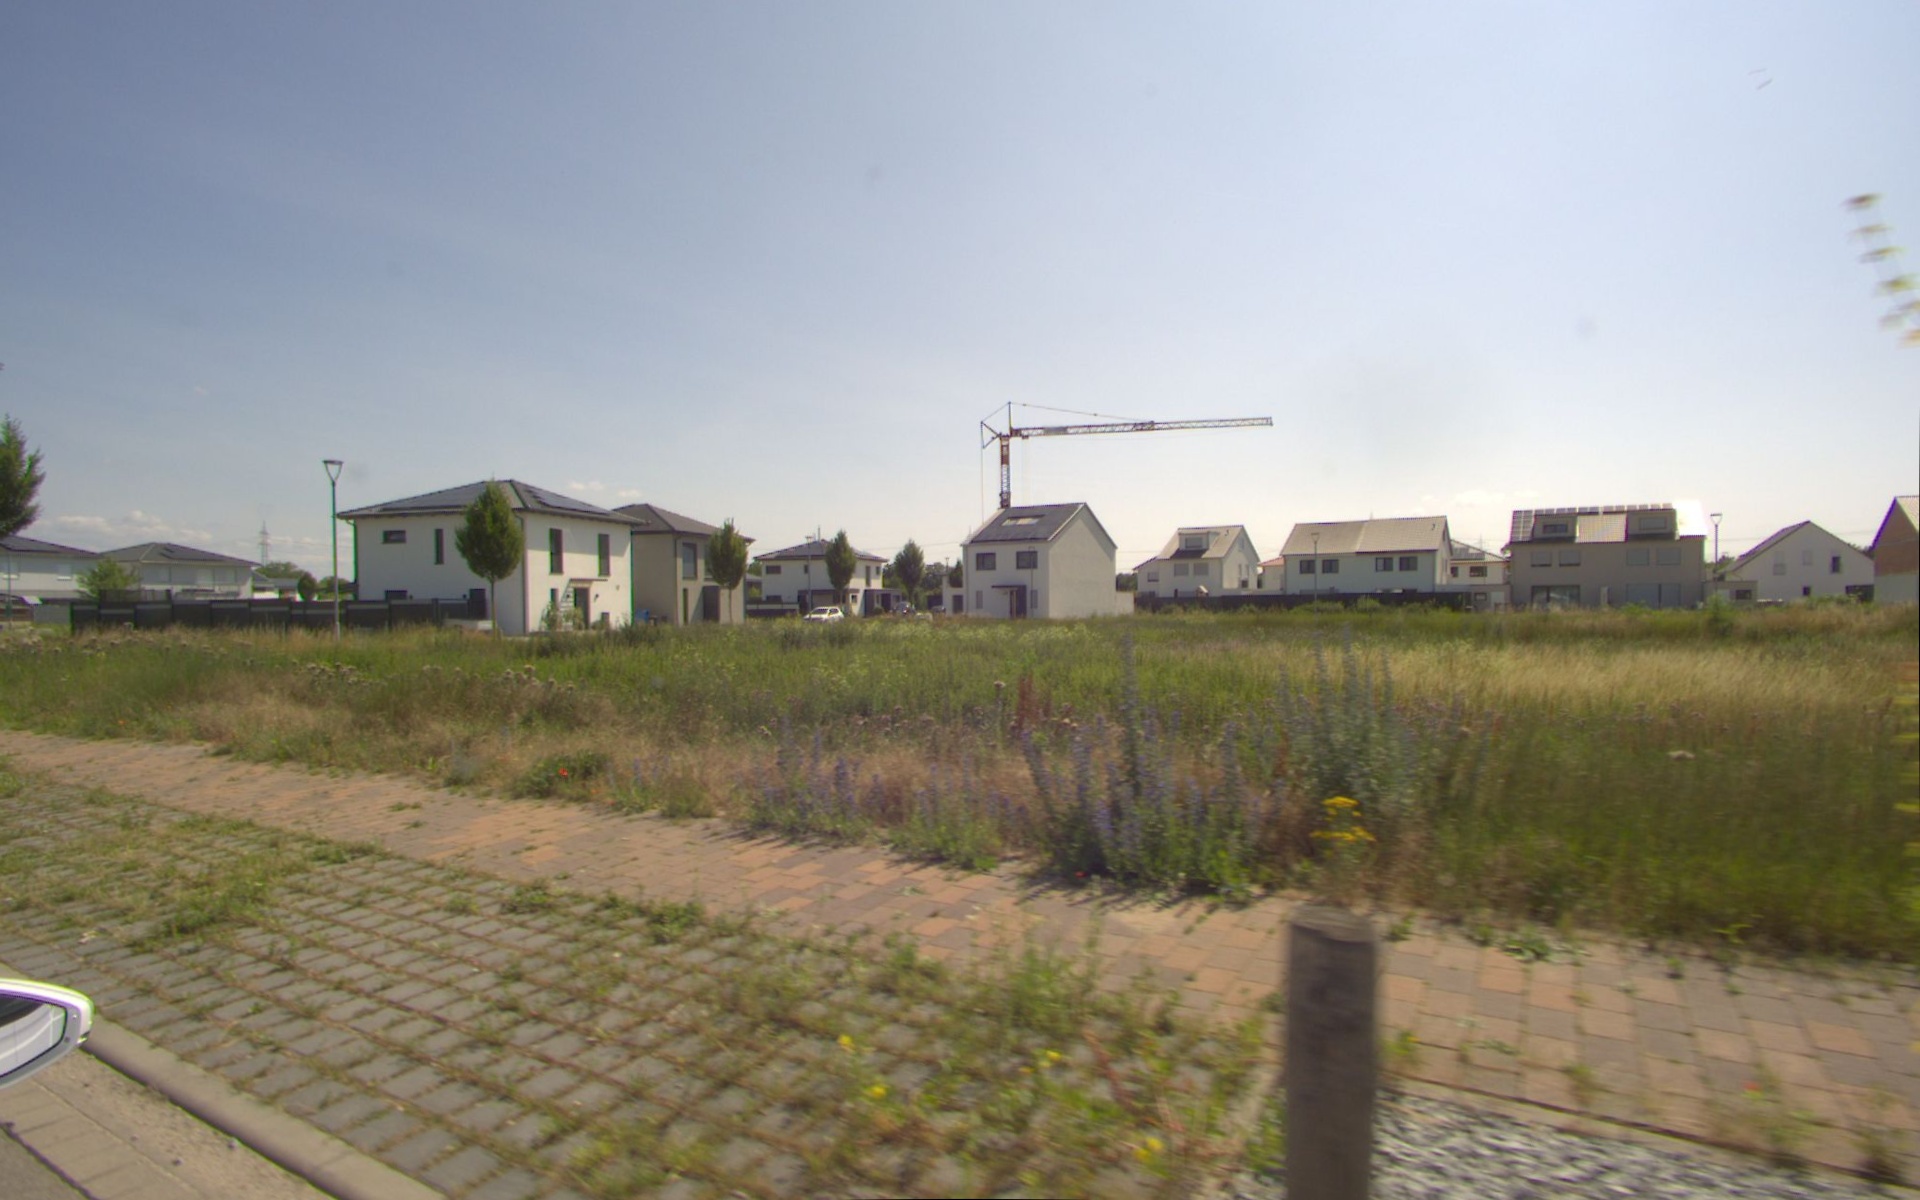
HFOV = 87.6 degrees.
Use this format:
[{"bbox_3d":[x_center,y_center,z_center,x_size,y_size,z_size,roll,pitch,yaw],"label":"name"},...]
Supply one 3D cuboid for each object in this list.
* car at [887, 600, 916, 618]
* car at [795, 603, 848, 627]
[{"bbox_3d":[-5.882,0.881,101.258,1.794,1.776,4.236,0,0,14],"label":"car"},{"bbox_3d":[-8.768,0.936,63.648,1.719,1.416,3.993,-1,-1,18],"label":"car"}]
